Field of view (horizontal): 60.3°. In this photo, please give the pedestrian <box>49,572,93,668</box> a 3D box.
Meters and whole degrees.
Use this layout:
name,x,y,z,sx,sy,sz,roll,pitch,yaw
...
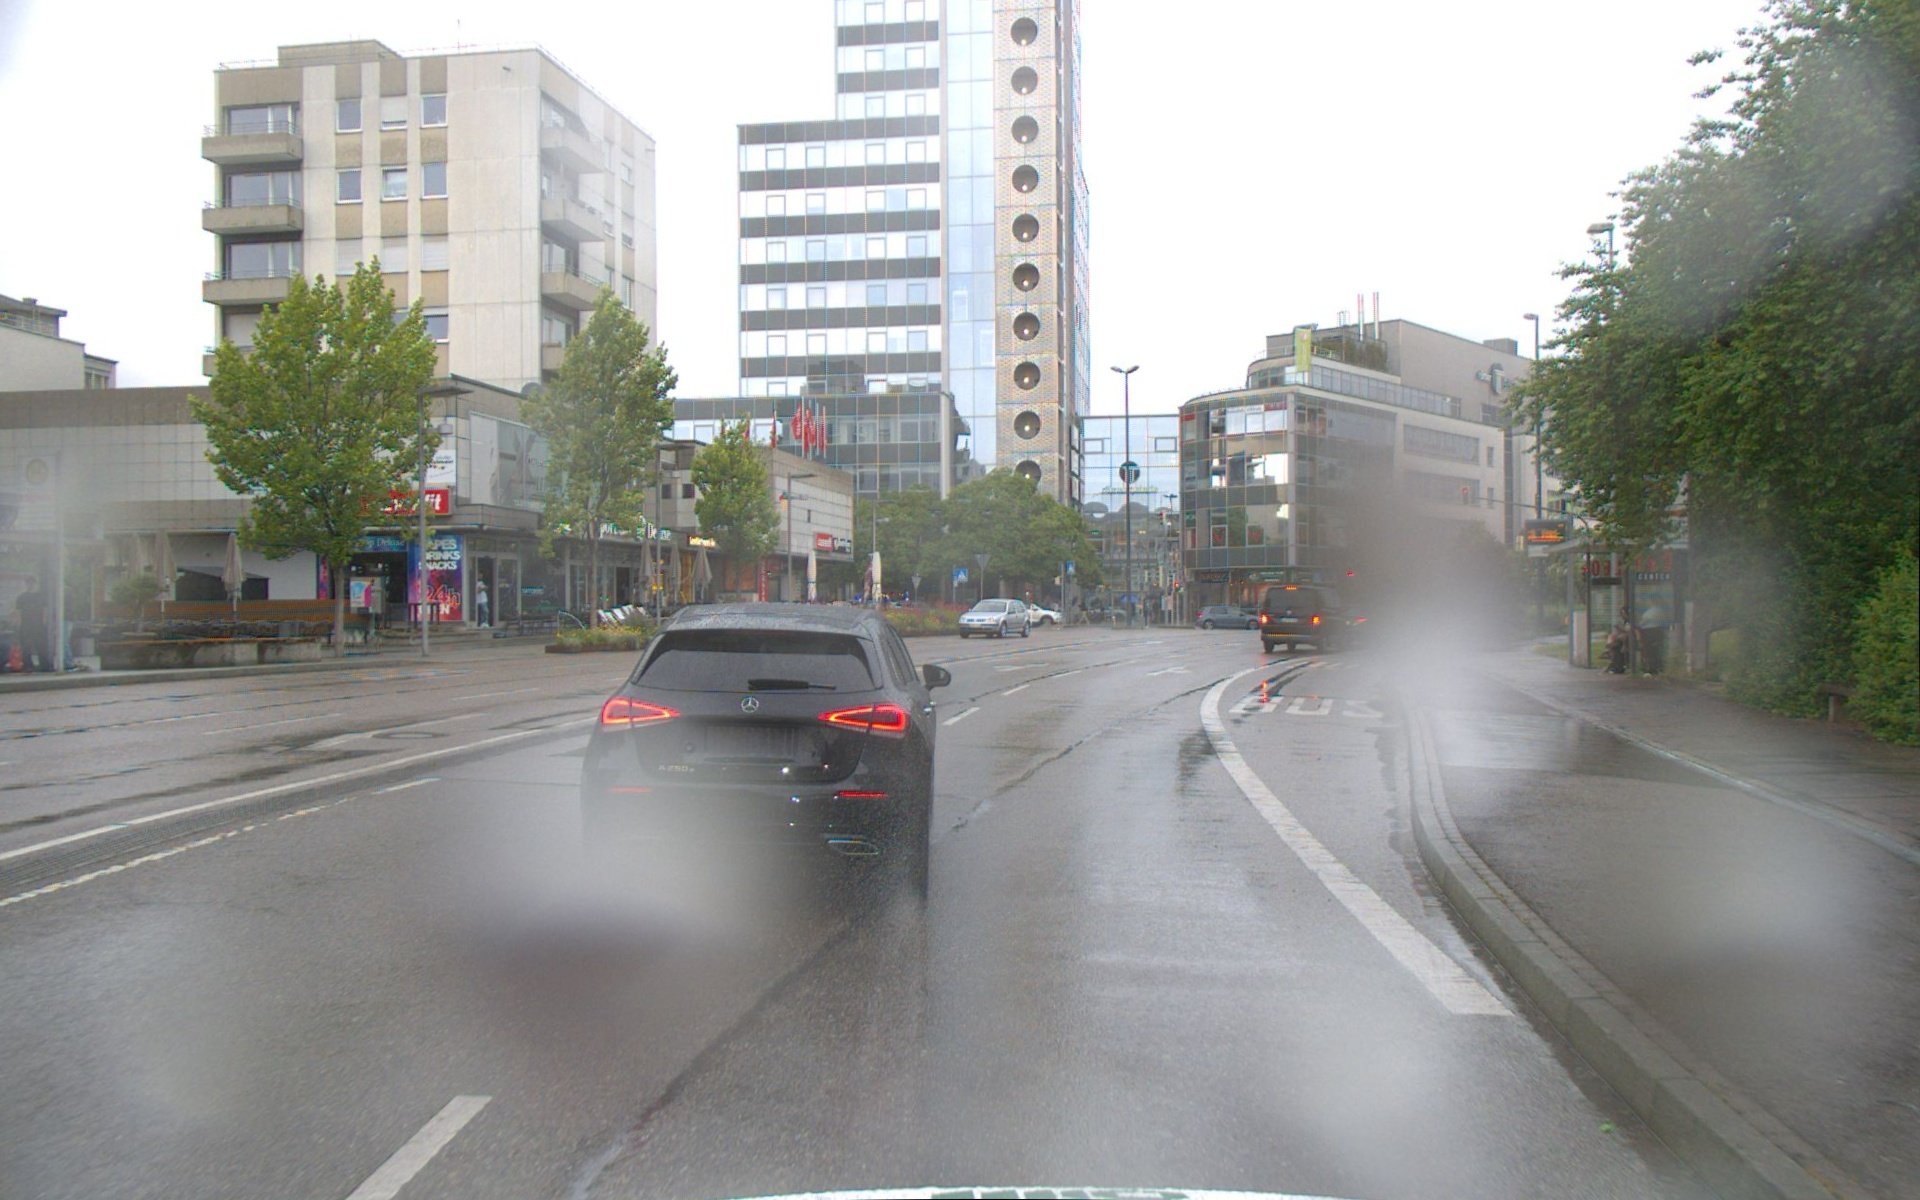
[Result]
name,x,y,z,sx,sy,sz,roll,pitch,yaw
pedestrian,-16.502,0.371,30.695,0.476,1.748,0.538,1,0,5

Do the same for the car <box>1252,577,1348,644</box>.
name,x,y,z,sx,sy,sz,roll,pitch,yaw
car,10.391,0.320,50.306,2.002,1.929,4.137,1,0,24

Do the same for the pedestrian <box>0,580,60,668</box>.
name,x,y,z,sx,sy,sz,roll,pitch,yaw
pedestrian,-17.265,0.435,30.668,0.778,1.598,0.636,1,0,1

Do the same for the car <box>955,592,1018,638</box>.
name,x,y,z,sx,sy,sz,roll,pitch,yaw
car,1.018,0.538,62.027,1.656,1.660,3.514,1,0,12

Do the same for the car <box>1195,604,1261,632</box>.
name,x,y,z,sx,sy,sz,roll,pitch,yaw
car,15.952,1.063,98.524,3.797,1.544,1.787,1,0,7

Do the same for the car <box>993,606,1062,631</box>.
name,x,y,z,sx,sy,sz,roll,pitch,yaw
car,3.966,1.059,96.737,3.902,1.408,1.729,1,0,6

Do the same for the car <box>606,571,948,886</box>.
name,x,y,z,sx,sy,sz,roll,pitch,yaw
car,-0.922,0.614,10.000,1.629,1.507,4.093,0,0,-1

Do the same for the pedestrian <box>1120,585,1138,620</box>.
name,x,y,z,sx,sy,sz,roll,pitch,yaw
pedestrian,8.589,0.118,83.887,0.788,1.785,0.813,1,0,15

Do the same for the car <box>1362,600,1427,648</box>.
name,x,y,z,sx,sy,sz,roll,pitch,yaw
car,16.538,0.882,62.889,1.871,1.755,3.808,1,0,23

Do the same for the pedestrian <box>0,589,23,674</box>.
name,x,y,z,sx,sy,sz,roll,pitch,yaw
pedestrian,-17.278,0.555,29.602,0.621,1.496,0.636,1,0,1

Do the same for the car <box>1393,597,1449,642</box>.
name,x,y,z,sx,sy,sz,roll,pitch,yaw
car,19.377,0.817,69.378,1.792,1.801,3.854,1,0,23

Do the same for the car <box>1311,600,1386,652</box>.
name,x,y,z,sx,sy,sz,roll,pitch,yaw
car,13.417,0.868,56.984,1.848,1.701,3.999,1,0,23
